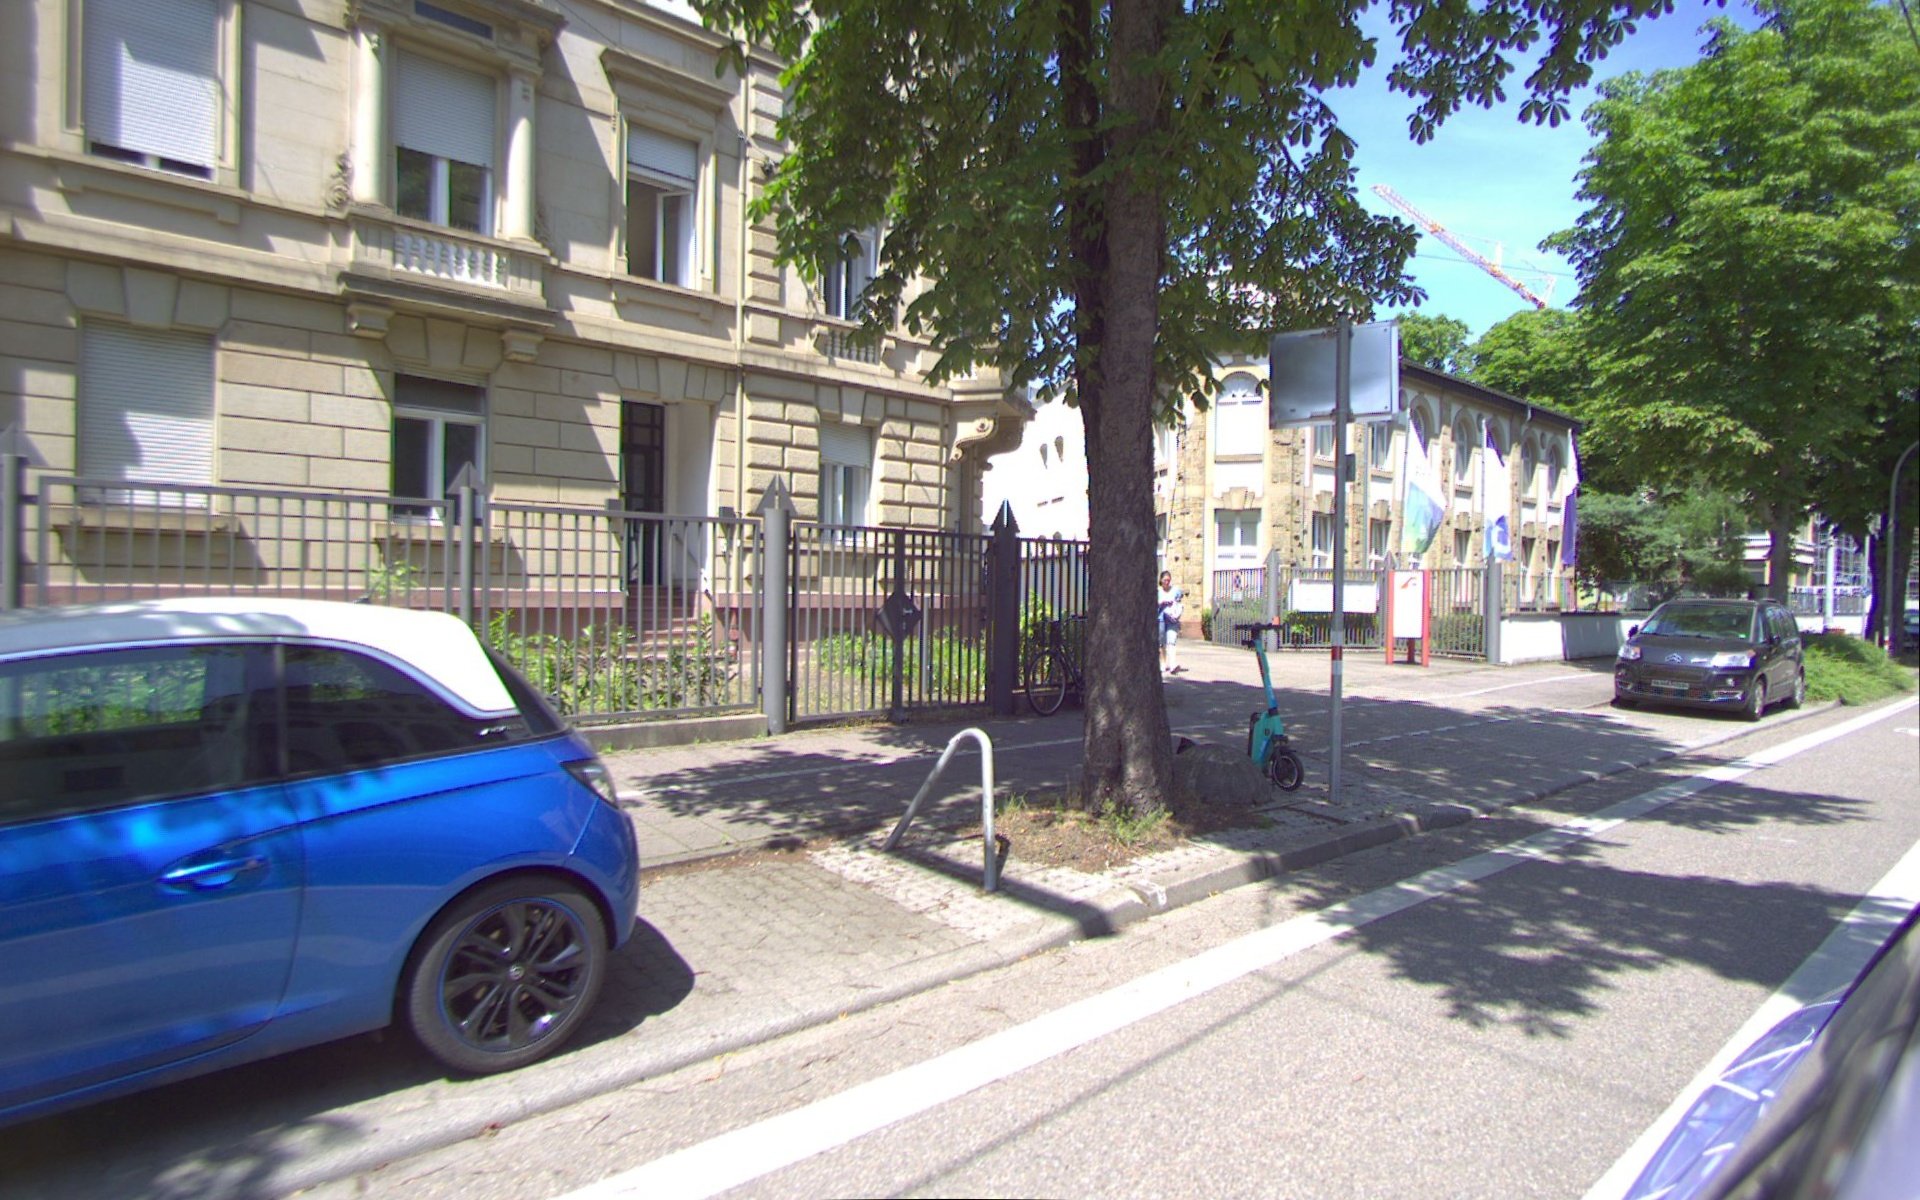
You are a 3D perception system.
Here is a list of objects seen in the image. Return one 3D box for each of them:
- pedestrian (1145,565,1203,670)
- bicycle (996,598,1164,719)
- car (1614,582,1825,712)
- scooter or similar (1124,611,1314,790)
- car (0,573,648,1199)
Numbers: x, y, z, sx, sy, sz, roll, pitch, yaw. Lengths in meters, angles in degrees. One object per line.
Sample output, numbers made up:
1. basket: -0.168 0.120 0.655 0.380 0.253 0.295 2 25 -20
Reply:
1. pedestrian: 3.485 0.272 16.476 0.650 1.657 0.672 0 0 -23
2. bicycle: 1.400 0.607 11.524 2.082 1.240 0.688 -1 0 -41
3. car: 11.282 0.626 14.933 4.043 1.616 1.646 1 1 -41
4. scooter or similar: 1.958 0.720 7.743 1.370 1.247 0.371 0 0 37
5. car: -2.917 0.702 2.927 3.521 1.515 1.613 -1 3 -41
